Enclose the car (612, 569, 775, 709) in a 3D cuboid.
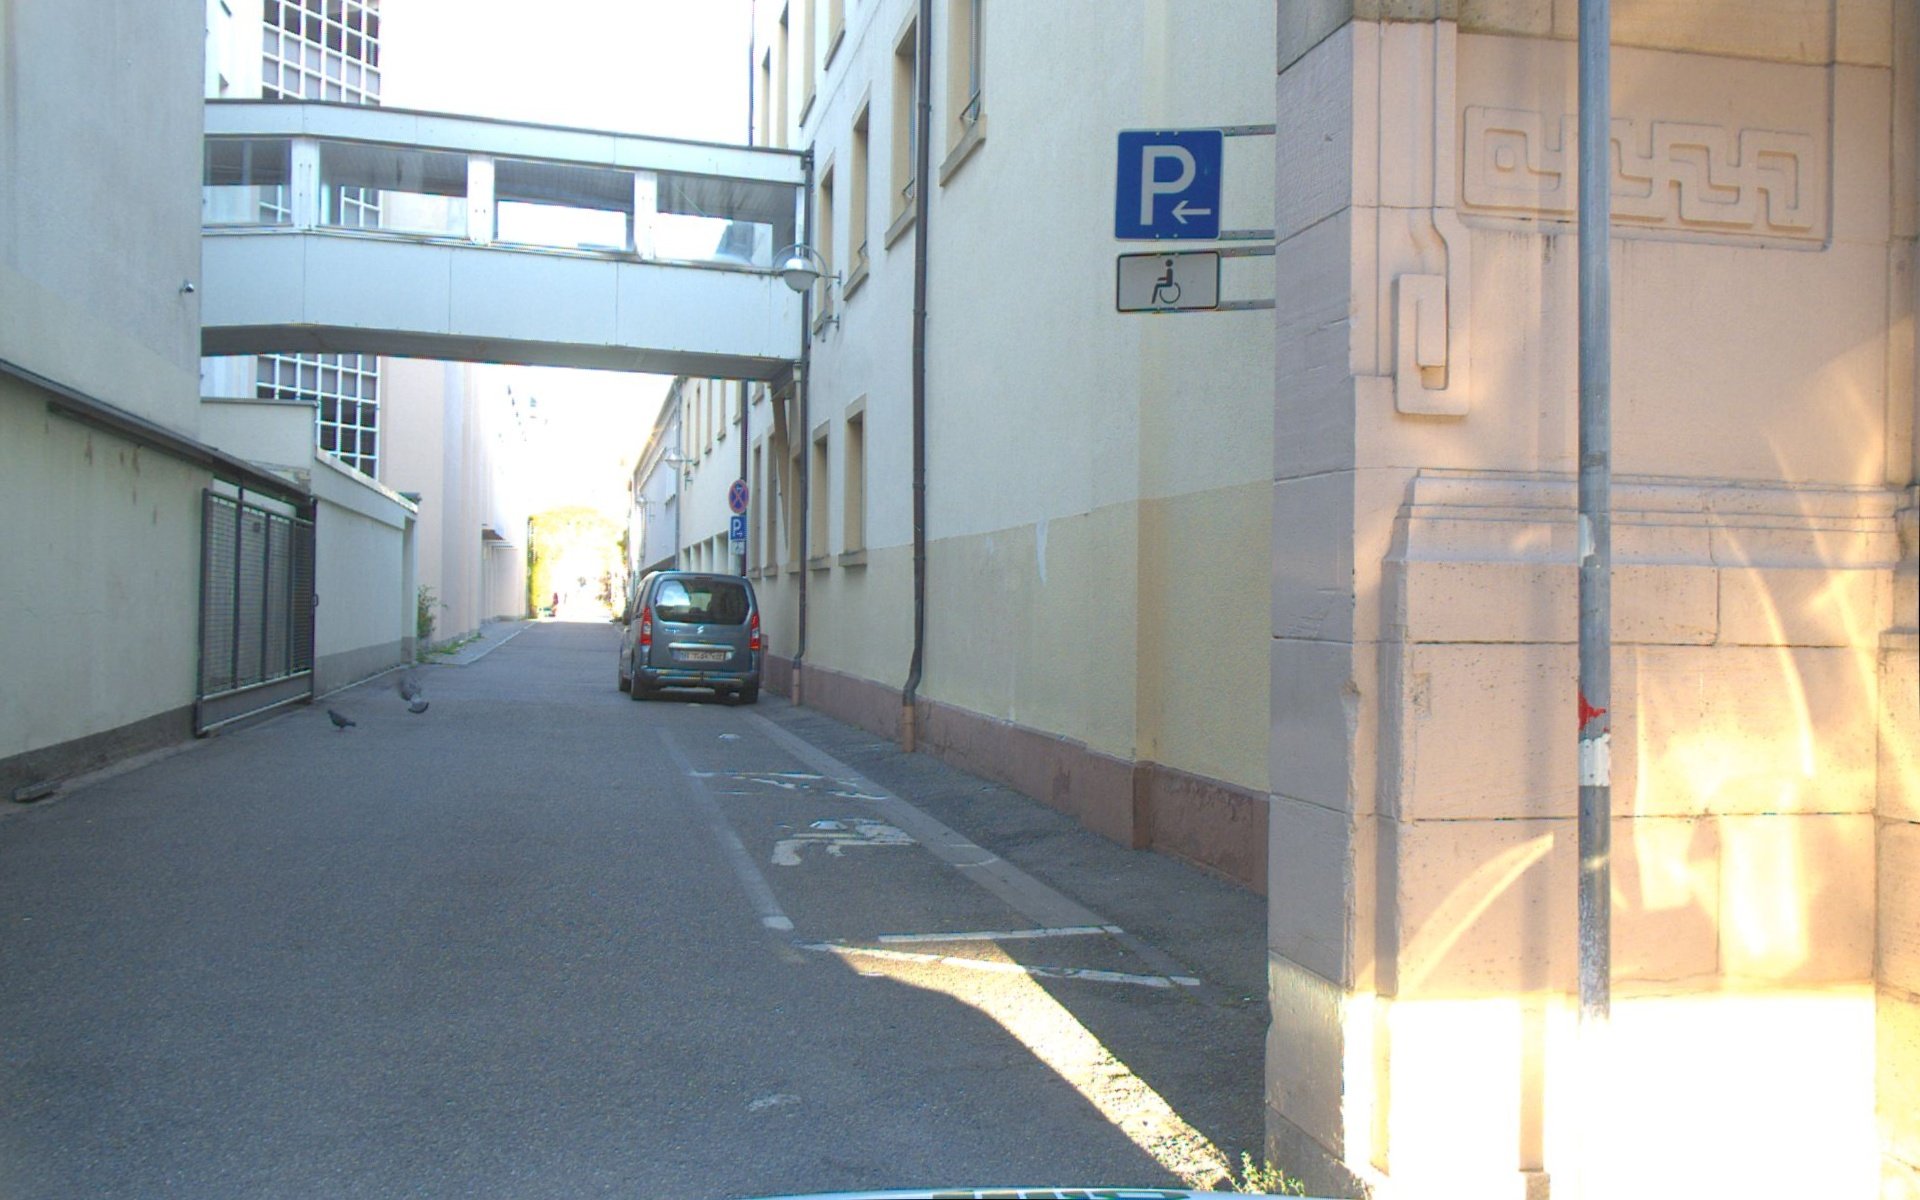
[{"bbox_3d":[-4.021,0.533,24.413,1.825,1.786,4.144,4,-1,-16],"label":"car"}]
